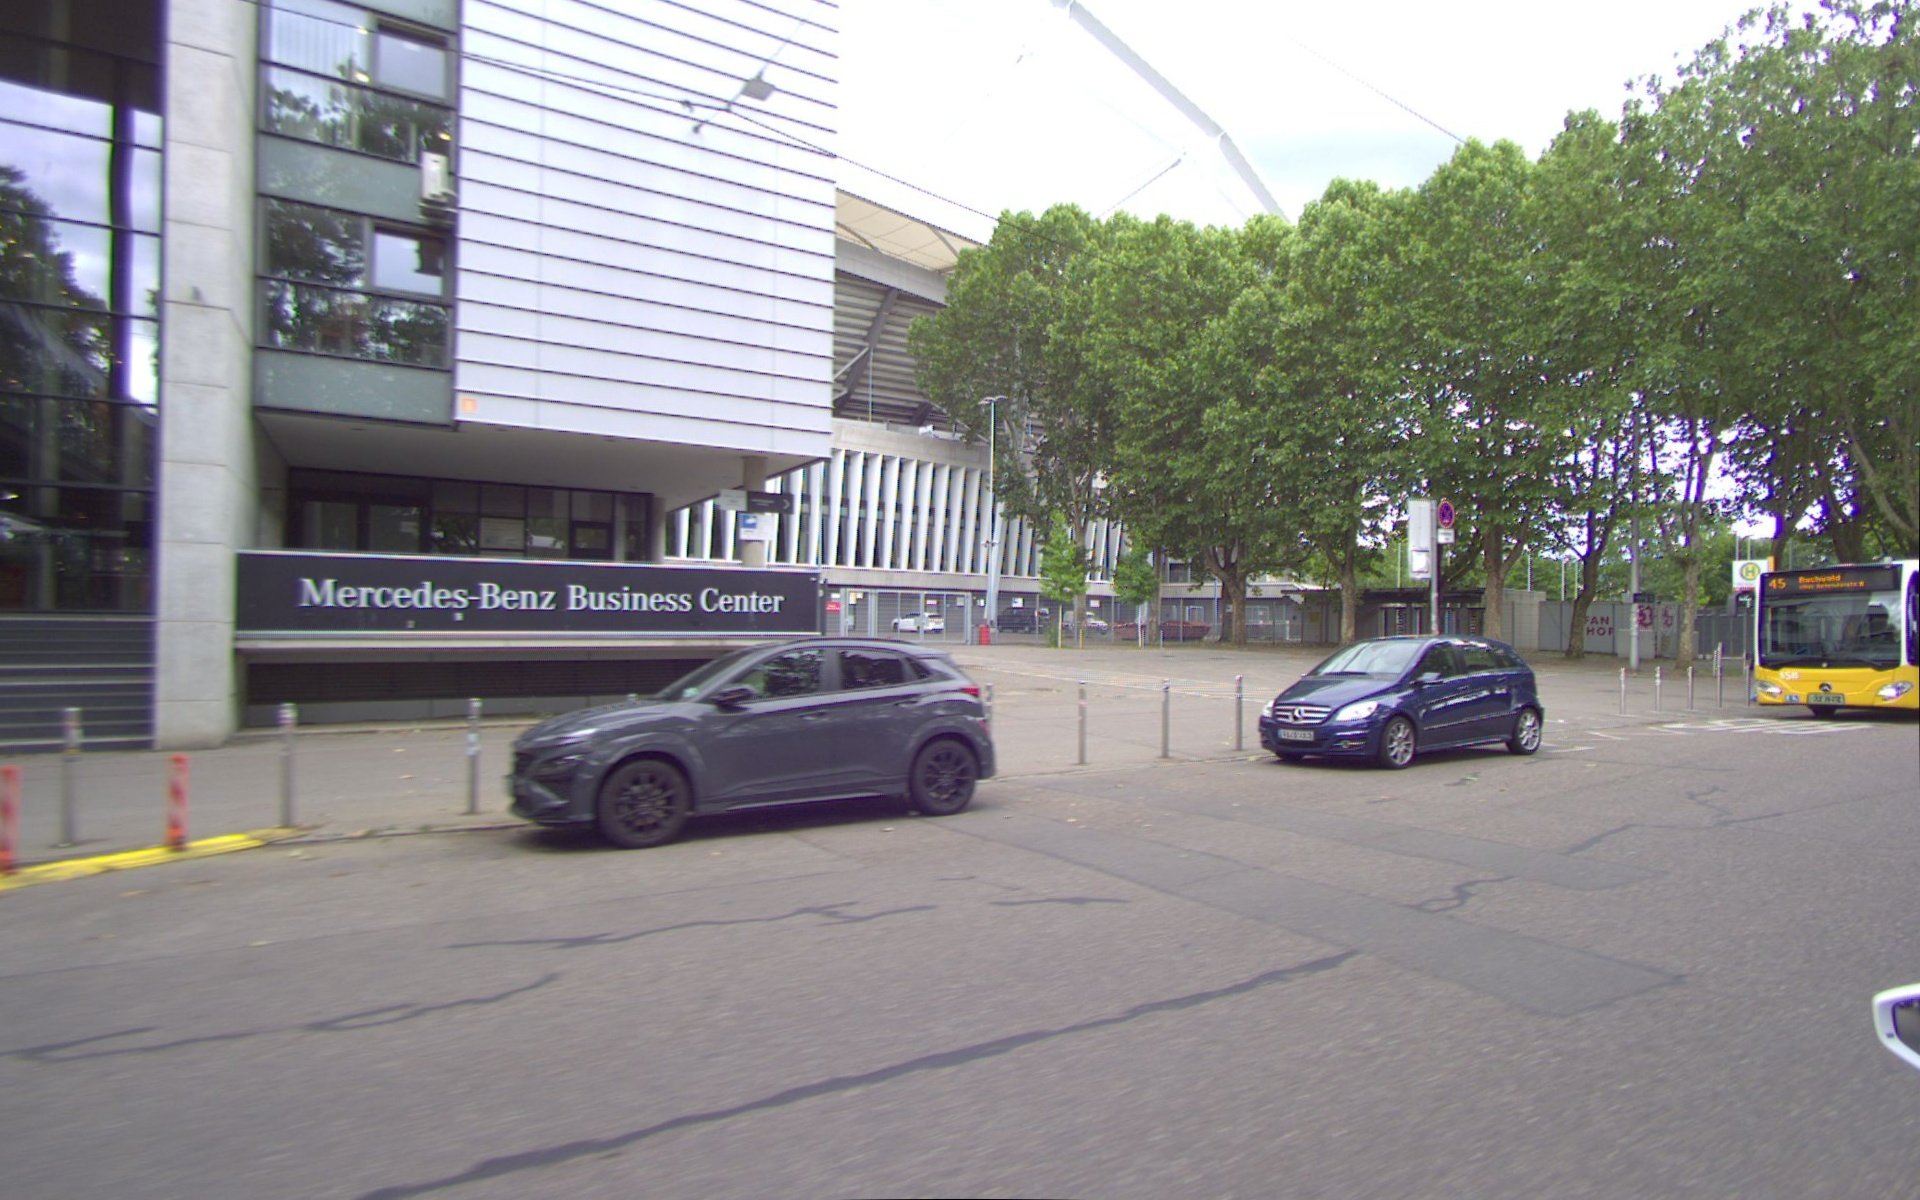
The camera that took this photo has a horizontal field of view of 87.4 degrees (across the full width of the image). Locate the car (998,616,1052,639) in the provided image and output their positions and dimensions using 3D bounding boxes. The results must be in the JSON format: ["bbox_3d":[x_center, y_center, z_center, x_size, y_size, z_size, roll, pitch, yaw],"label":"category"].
[{"bbox_3d":[4.968,2.124,77.000,1.984,1.684,3.953,2,-1,-40],"label":"car"}]

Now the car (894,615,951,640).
[{"bbox_3d":[-2.656,1.900,70.763,1.984,1.684,3.953,2,-1,-40],"label":"car"}]

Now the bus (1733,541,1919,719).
[{"bbox_3d":[21.680,0.766,22.185,12.219,3.195,2.641,2,-4,-29],"label":"bus"}]

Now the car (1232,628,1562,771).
[{"bbox_3d":[5.769,1.244,13.134,4.338,1.586,1.745,2,-6,-32],"label":"car"}]

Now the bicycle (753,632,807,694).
[{"bbox_3d":[-3.828,1.314,21.305,0.465,1.202,1.815,2,0,-32],"label":"bicycle"}]

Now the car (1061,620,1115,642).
[{"bbox_3d":[10.227,2.447,80.447,1.984,1.684,3.953,2,-1,-40],"label":"car"}]

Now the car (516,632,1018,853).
[{"bbox_3d":[-1.623,1.108,8.788,3.963,1.533,1.746,2,-5,-31],"label":"car"}]

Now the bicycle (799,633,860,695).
[{"bbox_3d":[-2.869,1.371,21.927,0.563,1.202,1.902,2,0,-32],"label":"bicycle"}]
